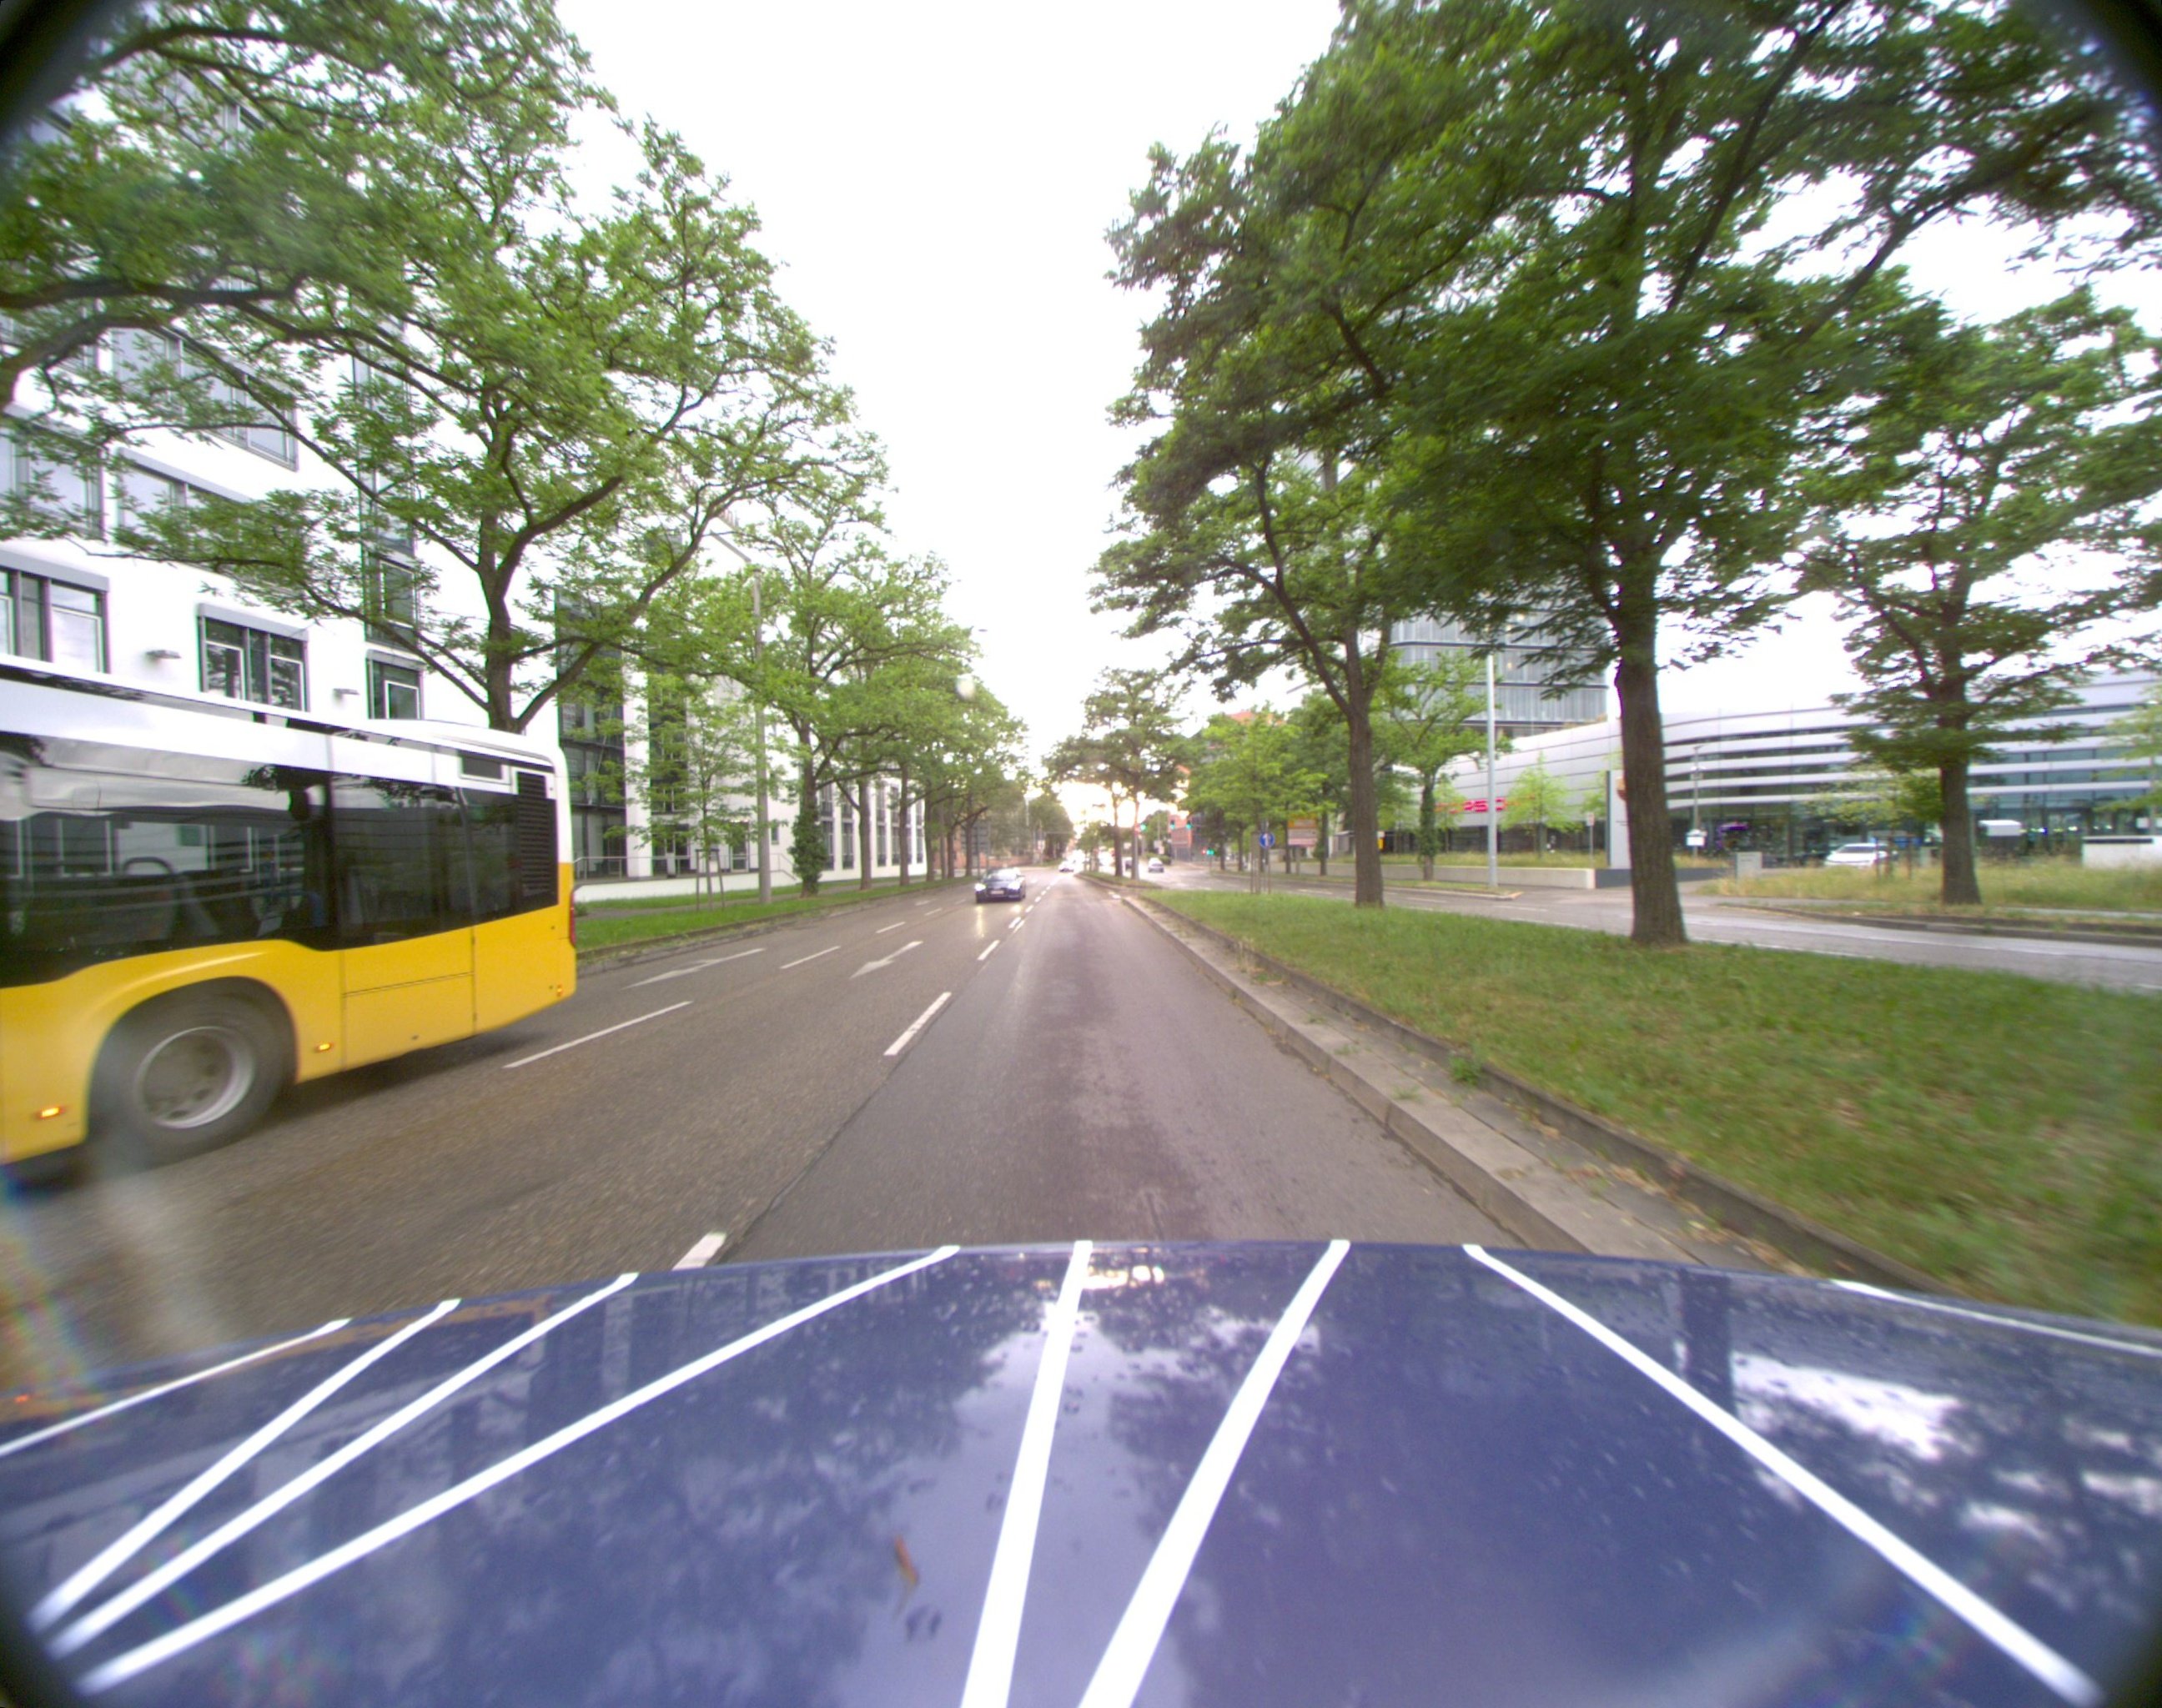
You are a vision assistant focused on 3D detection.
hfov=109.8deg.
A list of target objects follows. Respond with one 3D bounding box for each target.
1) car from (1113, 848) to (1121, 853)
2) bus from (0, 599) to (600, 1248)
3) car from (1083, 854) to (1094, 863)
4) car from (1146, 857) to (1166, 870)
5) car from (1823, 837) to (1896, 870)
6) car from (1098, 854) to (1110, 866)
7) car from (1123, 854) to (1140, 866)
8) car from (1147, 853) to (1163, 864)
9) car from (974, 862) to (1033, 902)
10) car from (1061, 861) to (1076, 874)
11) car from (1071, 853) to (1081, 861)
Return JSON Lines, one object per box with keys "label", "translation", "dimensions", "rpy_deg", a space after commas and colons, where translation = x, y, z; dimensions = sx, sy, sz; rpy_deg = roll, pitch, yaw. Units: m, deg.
{"label": "car", "translation": [10.343, -1.077, 217.022], "dimensions": [1.783, 1.445, 3.999], "rpy_deg": [-3, 1, -2]}
{"label": "bus", "translation": [-6.615, 0.378, 1.953], "dimensions": [2.734, 3.133, 12.146], "rpy_deg": [-3, 0, 1]}
{"label": "car", "translation": [1.500, 0.873, 146.836], "dimensions": [1.998, 1.707, 4.000], "rpy_deg": [-1, 0, 1]}
{"label": "car", "translation": [9.390, 1.199, 95.290], "dimensions": [1.894, 1.445, 3.999], "rpy_deg": [-3, 1, -2]}
{"label": "car", "translation": [39.196, -0.018, 38.222], "dimensions": [4.006, 1.405, 1.774], "rpy_deg": [-4, 1, -33]}
{"label": "car", "translation": [3.929, 1.020, 130.211], "dimensions": [1.998, 2.002, 4.000], "rpy_deg": [-1, 0, 1]}
{"label": "car", "translation": [6.914, 0.850, 104.780], "dimensions": [1.846, 1.581, 4.172], "rpy_deg": [-1, 1, -2]}
{"label": "car", "translation": [10.843, 0.670, 111.787], "dimensions": [1.783, 1.445, 3.999], "rpy_deg": [-3, 1, -2]}
{"label": "car", "translation": [-3.161, 1.132, 31.808], "dimensions": [1.878, 1.346, 4.331], "rpy_deg": [-3, 1, 1]}
{"label": "car", "translation": [-1.554, 1.766, 99.049], "dimensions": [1.625, 1.426, 3.551], "rpy_deg": [-3, 1, 3]}
{"label": "car", "translation": [-1.082, 0.641, 164.396], "dimensions": [1.998, 1.576, 4.000], "rpy_deg": [-1, 0, 1]}
